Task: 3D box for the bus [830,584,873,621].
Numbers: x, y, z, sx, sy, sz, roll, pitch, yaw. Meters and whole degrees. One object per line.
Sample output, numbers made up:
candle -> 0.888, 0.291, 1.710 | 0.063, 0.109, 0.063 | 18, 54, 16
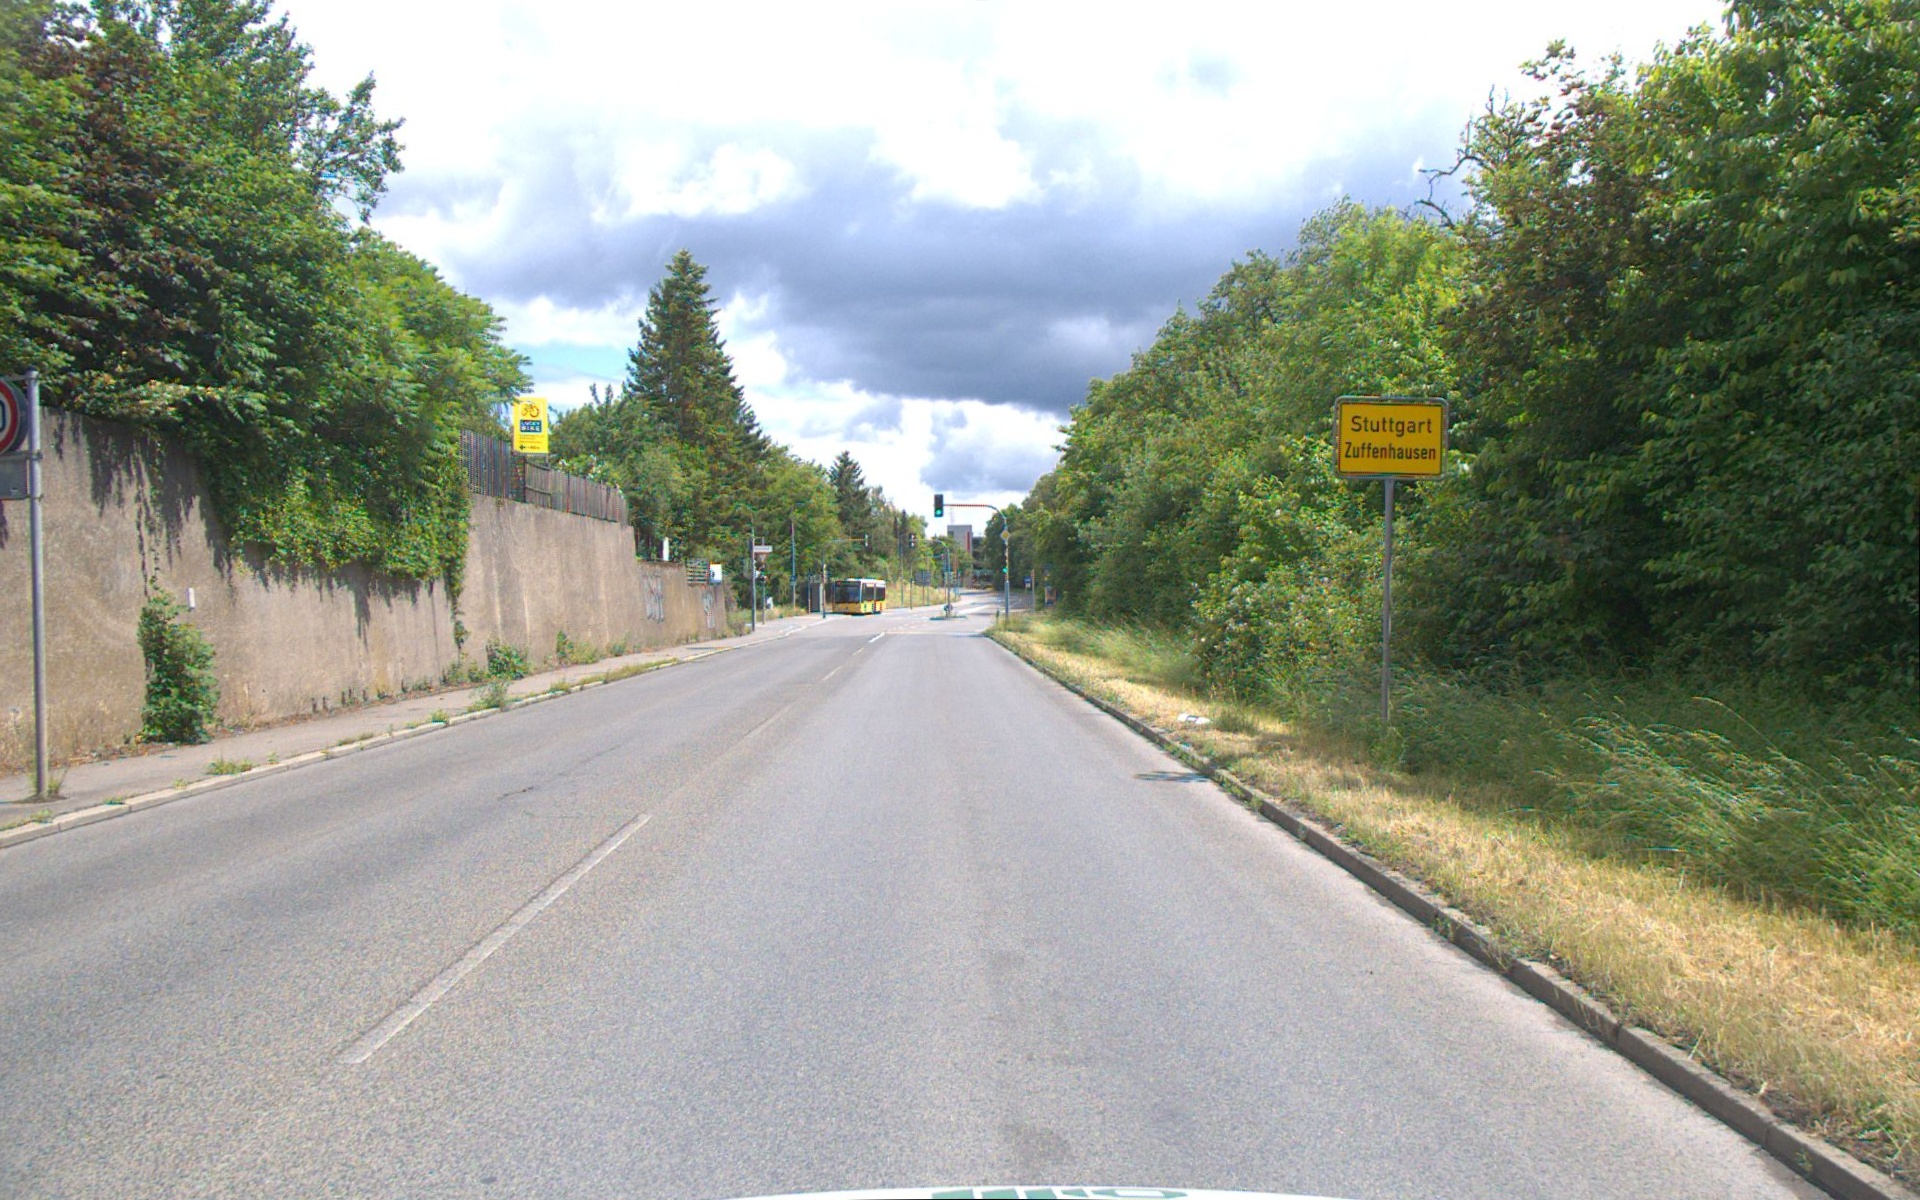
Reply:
bus -> -9.279, 0.161, 142.454 | 2.834, 2.949, 7.670 | 1, 1, 2
